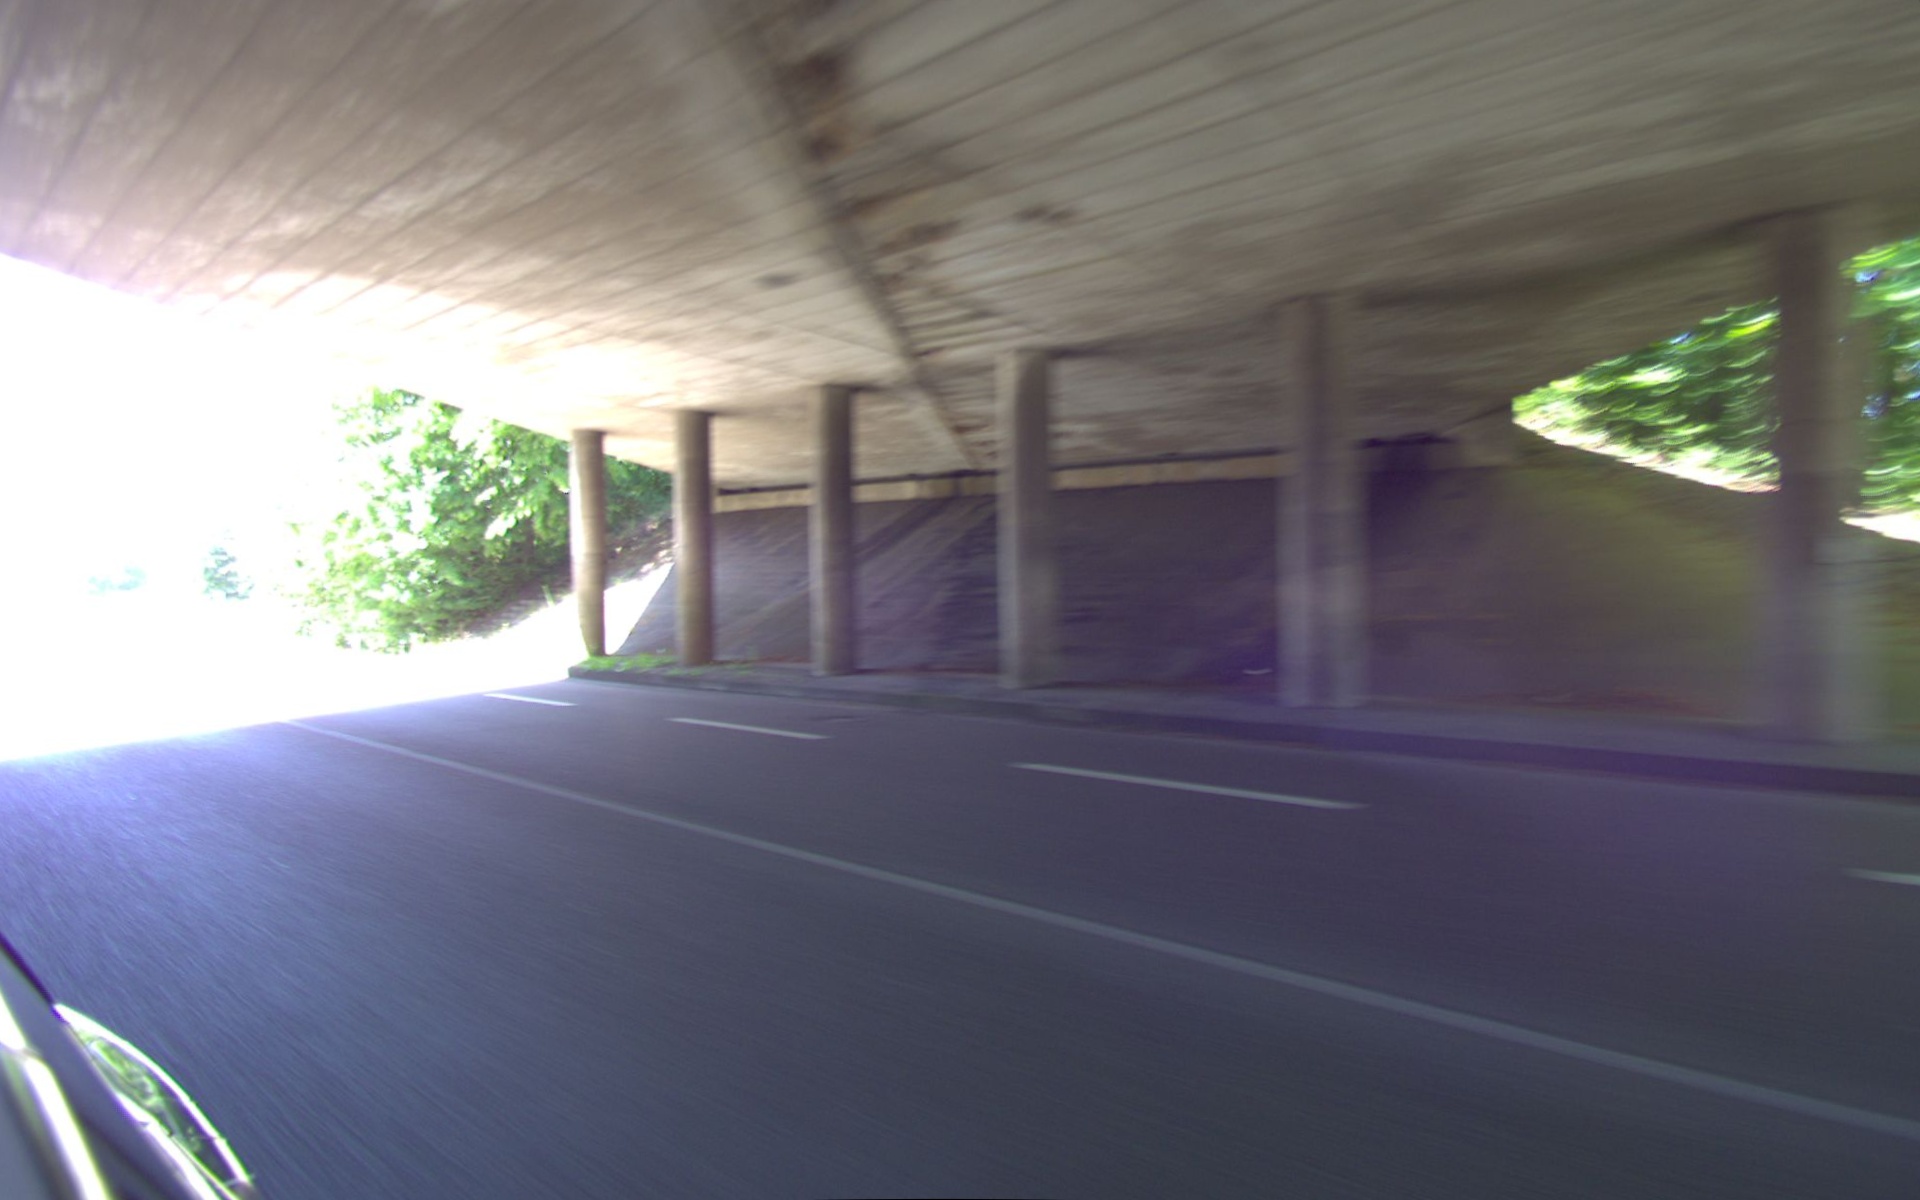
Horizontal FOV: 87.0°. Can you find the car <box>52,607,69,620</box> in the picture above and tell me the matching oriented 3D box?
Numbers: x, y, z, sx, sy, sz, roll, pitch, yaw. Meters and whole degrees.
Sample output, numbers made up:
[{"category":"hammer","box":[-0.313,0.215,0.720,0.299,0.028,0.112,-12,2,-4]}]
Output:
[{"category":"car","box":[-141.007,2.073,158.634,1.818,2.029,4.004,0,-1,-42]}]

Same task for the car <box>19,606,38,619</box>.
[{"category":"car","box":[-138.921,1.884,150.919,1.969,1.978,4.005,2,-2,-42]}]
